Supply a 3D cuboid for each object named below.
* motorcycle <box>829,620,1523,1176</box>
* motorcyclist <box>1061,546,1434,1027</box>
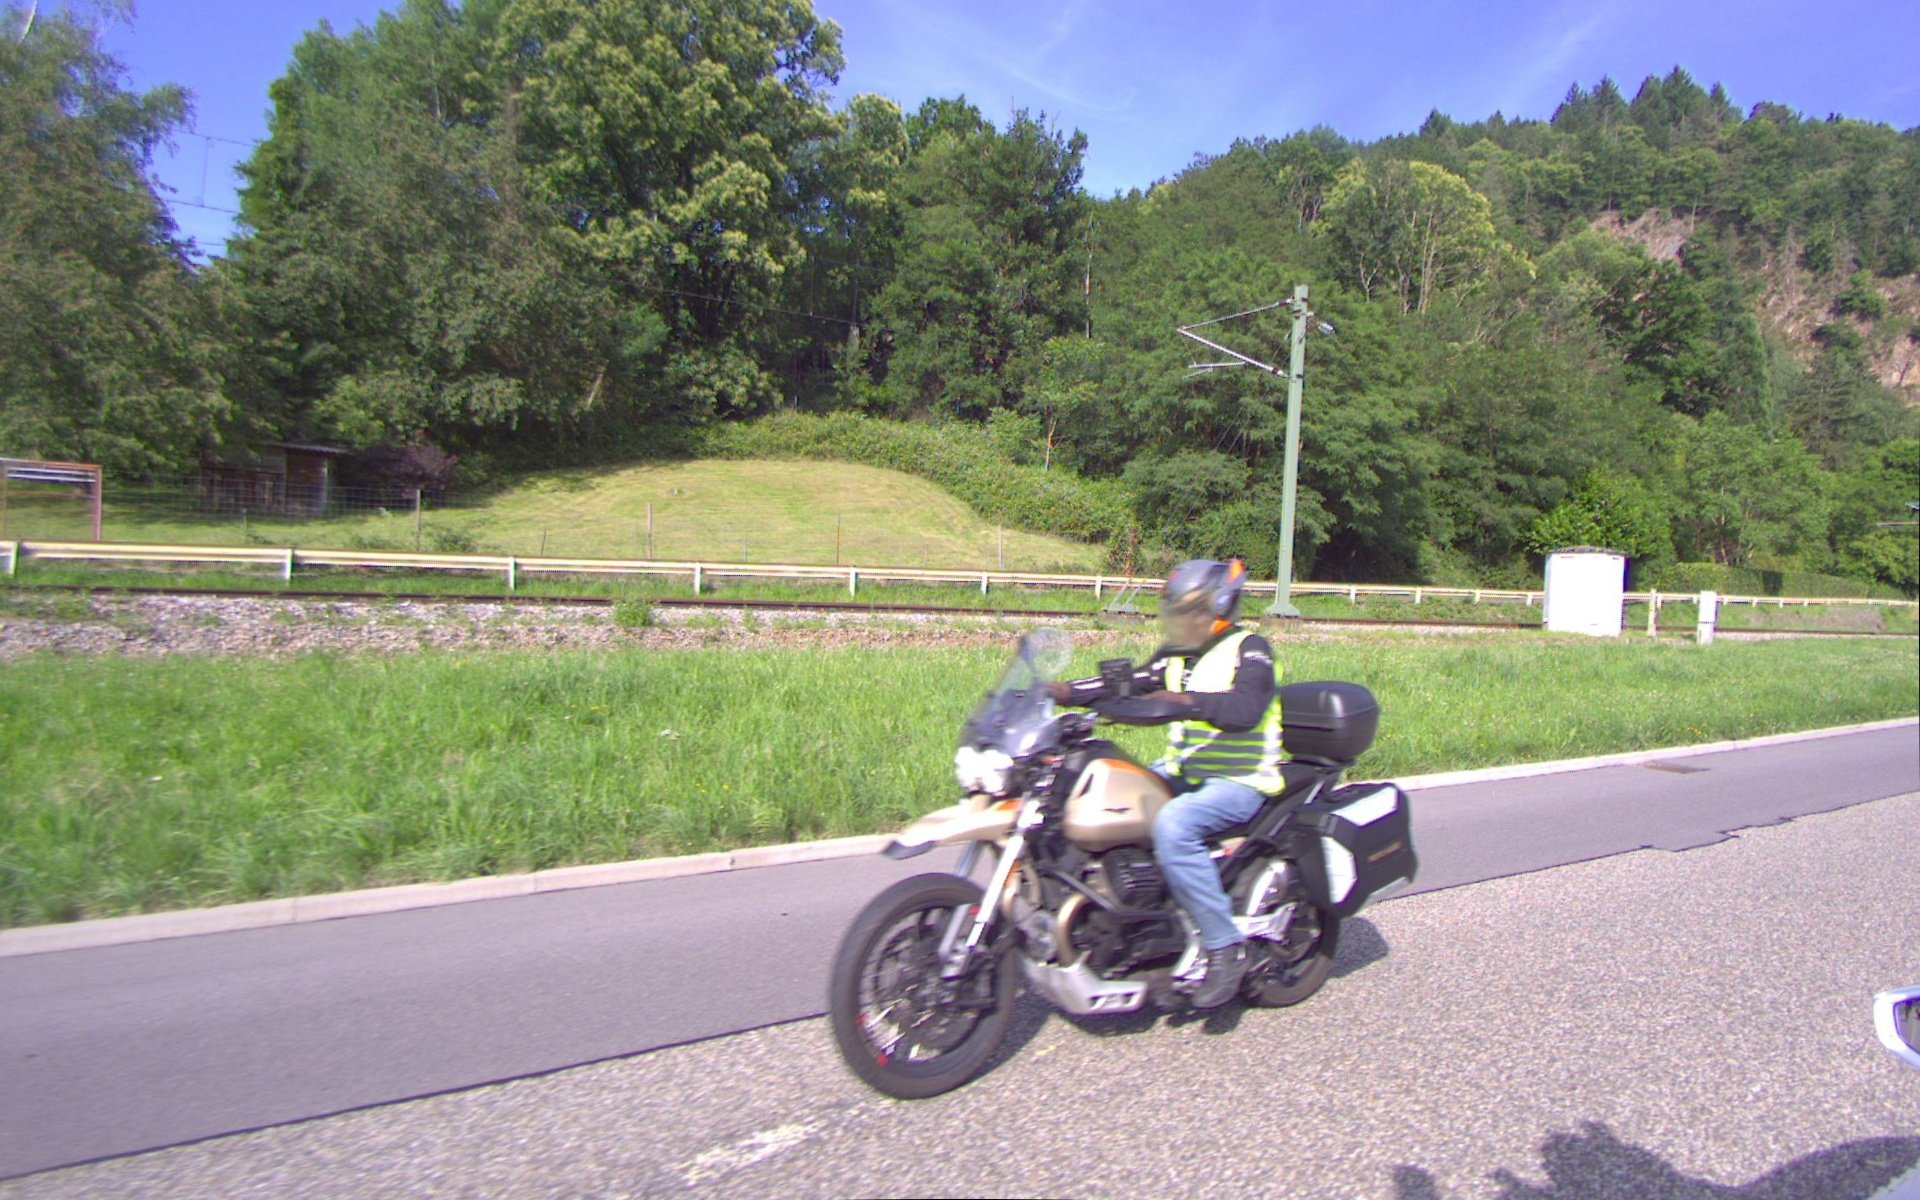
[{"bbox_3d":[0.815,0.782,3.508,2.373,1.401,0.858,1,0,-28],"label":"motorcycle"},{"bbox_3d":[1.001,0.558,3.607,0.952,1.442,0.855,0,1,-28],"label":"motorcyclist"}]
